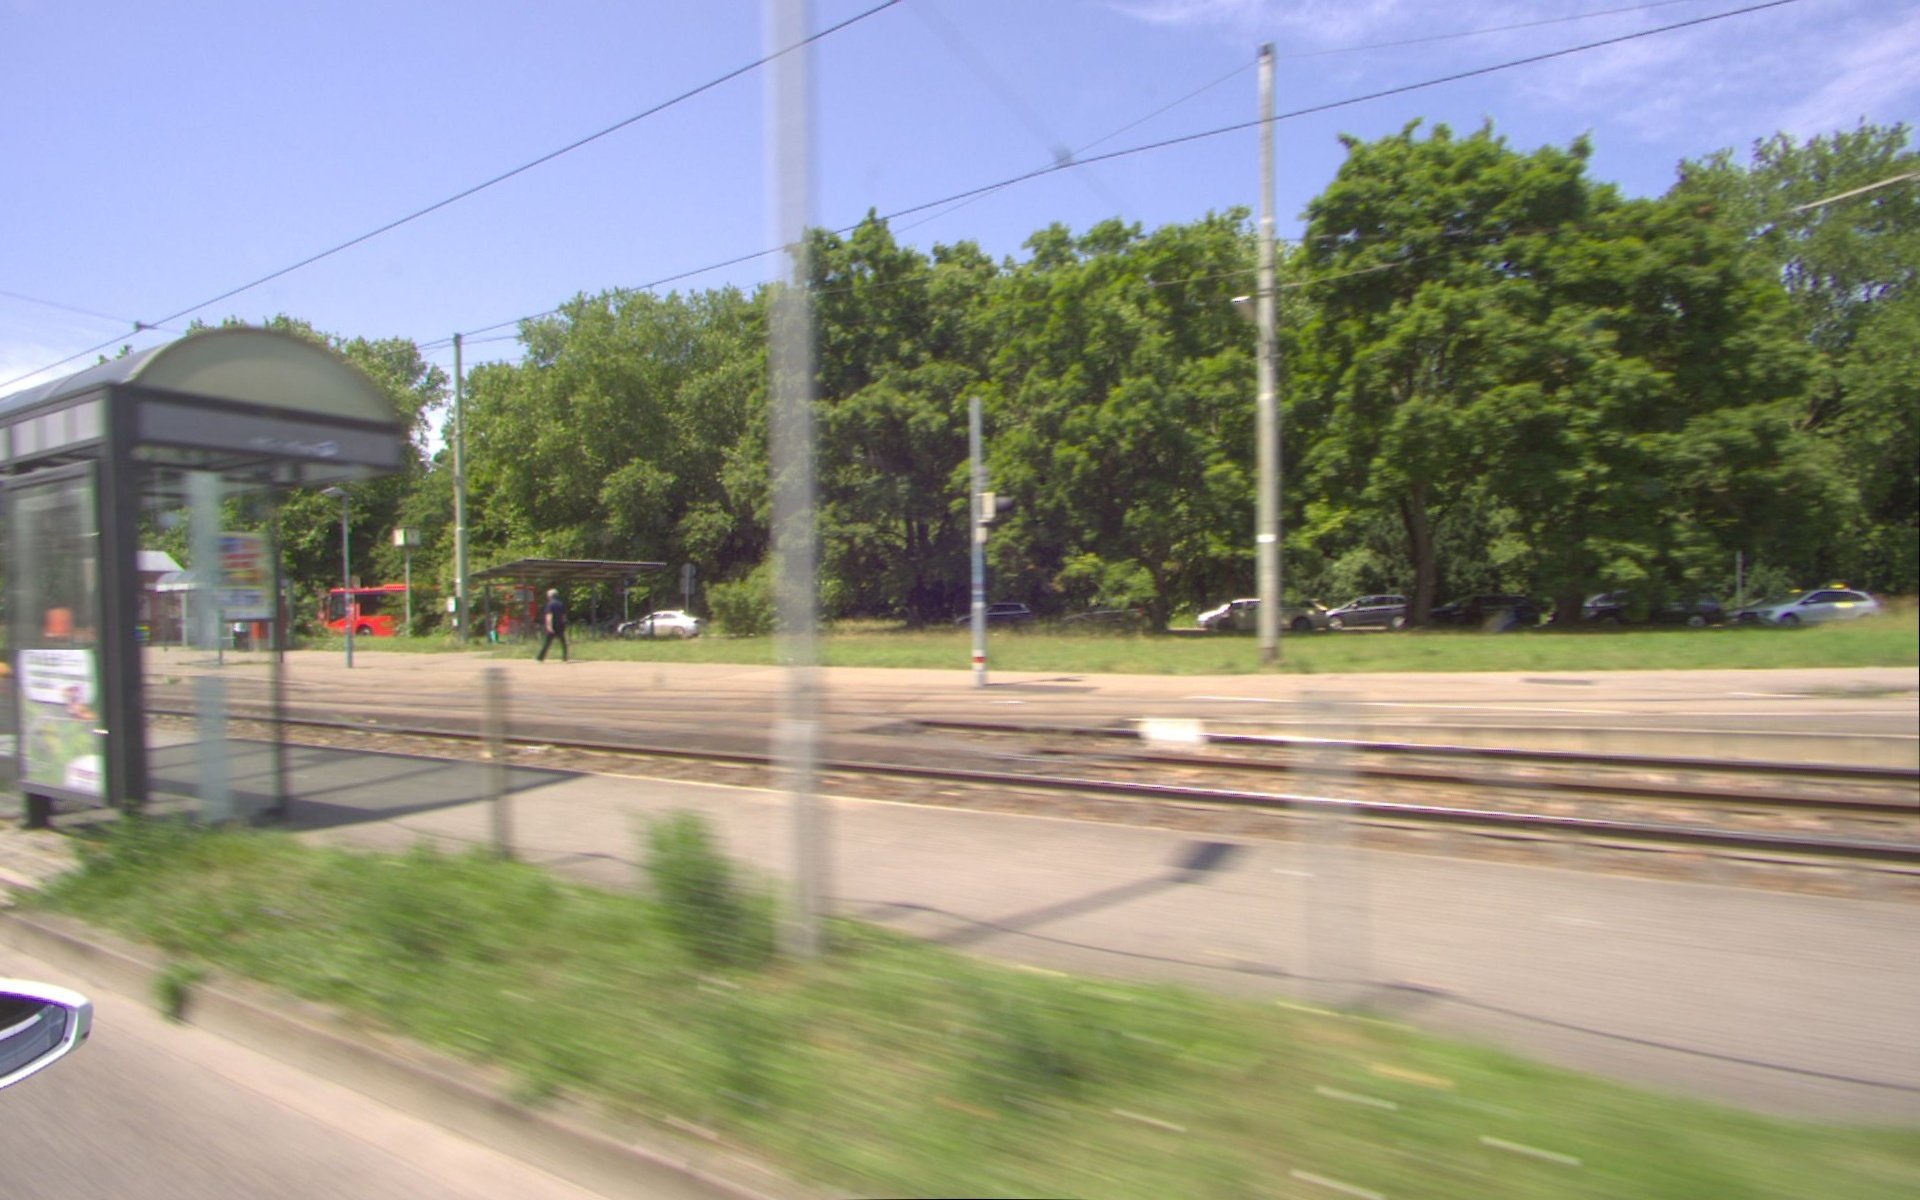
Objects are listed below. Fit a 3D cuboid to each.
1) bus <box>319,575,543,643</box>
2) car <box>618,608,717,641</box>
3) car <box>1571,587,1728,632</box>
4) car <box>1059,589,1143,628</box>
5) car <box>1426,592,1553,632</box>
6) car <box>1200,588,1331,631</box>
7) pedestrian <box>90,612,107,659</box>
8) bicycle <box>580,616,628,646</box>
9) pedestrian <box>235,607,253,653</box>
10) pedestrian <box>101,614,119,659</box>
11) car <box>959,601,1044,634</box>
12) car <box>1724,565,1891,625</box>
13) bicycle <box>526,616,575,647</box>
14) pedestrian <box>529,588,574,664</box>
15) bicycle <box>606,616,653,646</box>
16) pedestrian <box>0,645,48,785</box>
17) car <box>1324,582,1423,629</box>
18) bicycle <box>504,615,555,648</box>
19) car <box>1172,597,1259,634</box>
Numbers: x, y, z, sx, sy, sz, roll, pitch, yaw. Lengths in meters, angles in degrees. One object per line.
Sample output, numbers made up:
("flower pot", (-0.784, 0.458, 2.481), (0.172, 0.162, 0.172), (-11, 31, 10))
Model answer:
("bus", (-29.864, 0.595, 56.533), (12.211, 3.482, 2.768), (-1, -2, 12))
("car", (-15.584, 1.323, 53.450), (4.636, 1.650, 1.999), (-1, 0, 10))
("car", (25.754, 0.343, 37.515), (4.527, 1.560, 1.704), (-1, 0, 9))
("car", (6.875, 0.418, 48.668), (3.924, 1.795, 1.999), (-1, 0, 11))
("car", (20.276, 0.457, 38.500), (3.870, 1.442, 1.957), (-1, 0, 9))
("car", (12.338, 0.372, 40.825), (4.962, 1.632, 2.122), (-1, 0, 14))
("pedestrian", (-31.194, 1.286, 36.244), (0.439, 1.667, 0.359), (-2, -1, 34))
("bicycle", (-14.173, 1.231, 39.809), (2.159, 1.102, 0.596), (1, 2, 32))
("pedestrian", (-25.780, 1.081, 36.030), (0.604, 1.617, 0.359), (-2, -2, 36))
("pedestrian", (-30.569, 1.305, 36.008), (0.476, 1.617, 0.359), (-2, -1, 34))
("car", (2.069, 0.881, 49.607), (3.925, 1.531, 1.886), (-1, 0, 12))
("car", (30.780, -0.170, 36.501), (4.232, 2.040, 1.957), (-1, 0, 9))
("bicycle", (-15.416, 1.170, 37.675), (2.159, 1.102, 0.596), (1, 2, 32))
("pedestrian", (-9.805, 0.622, 24.040), (0.648, 1.788, 0.704), (-1, 1, 33))
("bicycle", (-13.453, 1.254, 40.733), (2.159, 1.102, 0.596), (1, 2, 32))
("pedestrian", (-7.554, 0.886, 7.751), (0.571, 1.054, 0.574), (-1, 1, 31))
("car", (19.030, 0.264, 46.270), (3.925, 2.040, 1.998), (-1, 0, 13))
("bicycle", (-15.875, 1.143, 36.918), (2.159, 1.102, 0.596), (1, 2, 32))
("car", (12.151, 0.724, 47.843), (3.925, 1.684, 1.852), (-1, 0, 13))
